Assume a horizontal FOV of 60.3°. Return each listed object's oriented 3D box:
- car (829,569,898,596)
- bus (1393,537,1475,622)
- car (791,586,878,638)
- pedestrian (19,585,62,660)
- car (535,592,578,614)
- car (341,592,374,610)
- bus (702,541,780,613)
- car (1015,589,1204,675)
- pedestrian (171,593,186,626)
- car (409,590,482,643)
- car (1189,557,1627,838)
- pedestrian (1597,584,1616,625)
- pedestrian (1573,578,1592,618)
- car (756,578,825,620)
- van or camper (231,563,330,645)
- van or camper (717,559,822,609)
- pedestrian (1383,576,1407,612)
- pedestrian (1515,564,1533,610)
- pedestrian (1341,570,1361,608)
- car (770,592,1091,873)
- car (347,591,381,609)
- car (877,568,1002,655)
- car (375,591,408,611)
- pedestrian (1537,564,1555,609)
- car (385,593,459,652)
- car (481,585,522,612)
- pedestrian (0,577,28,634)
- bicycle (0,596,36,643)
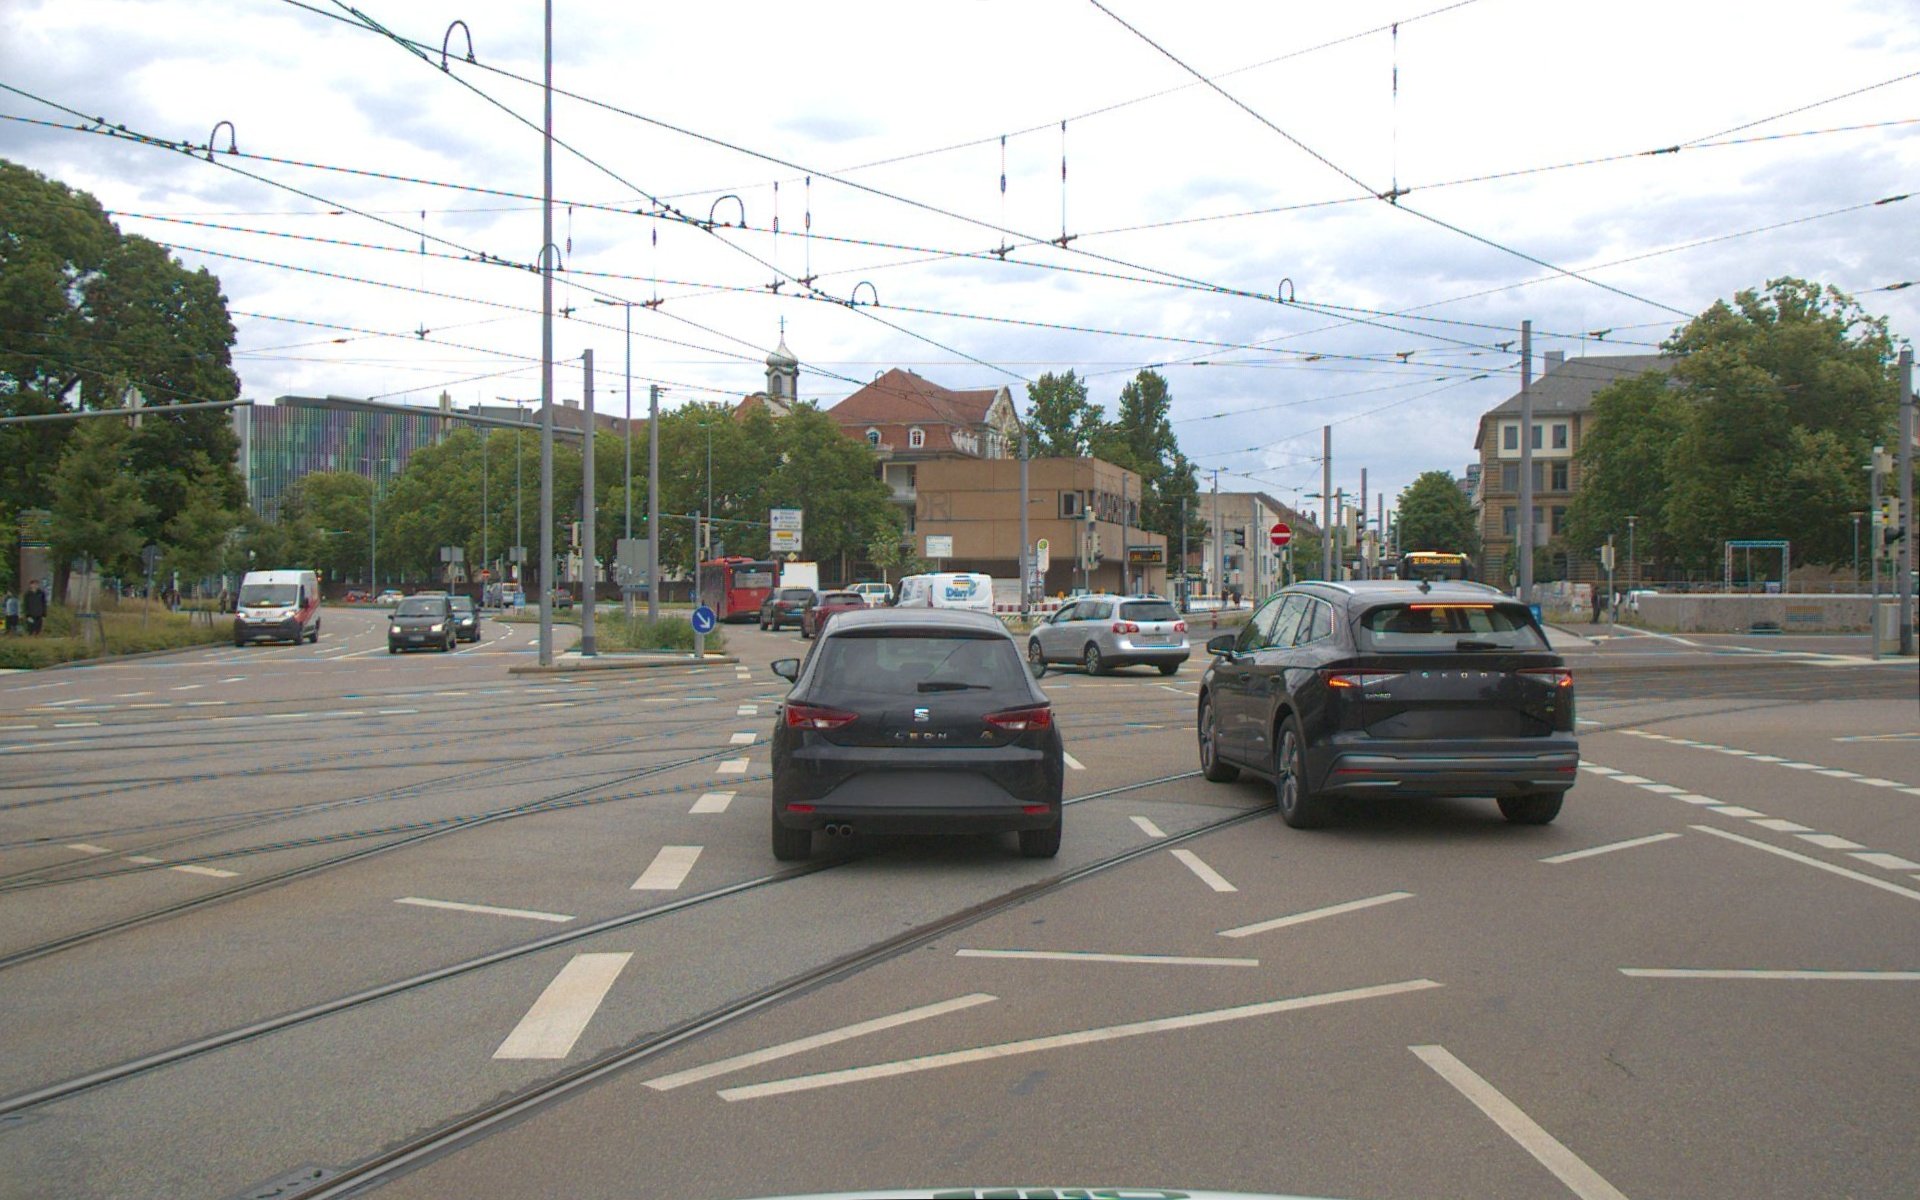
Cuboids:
[{"bbox_3d":[-7.222,-1.318,124.169,4.955,1.897,1.972,-1,-3,-39],"label":"car"},{"bbox_3d":[20.564,-0.825,71.265,2.953,3.325,13.049,0,0,18],"label":"bus"},{"bbox_3d":[-4.160,0.366,54.257,1.830,1.628,4.181,0,0,-20],"label":"car"},{"bbox_3d":[-24.904,0.602,44.805,0.804,2.015,0.657,-1,1,-9],"label":"pedestrian"},{"bbox_3d":[-28.818,0.219,118.114,1.973,1.566,3.959,0,0,-30],"label":"car"},{"bbox_3d":[-56.677,0.077,155.605,1.978,1.711,3.960,0,0,-35],"label":"car"},{"bbox_3d":[-11.151,-1.084,83.313,3.004,3.355,12.342,0,0,-12],"label":"bus"},{"bbox_3d":[2.814,0.560,32.225,1.697,1.508,4.596,-1,1,-23],"label":"car"},{"bbox_3d":[-37.089,0.450,78.480,0.552,1.568,0.751,0,0,-18],"label":"pedestrian"},{"bbox_3d":[-16.590,0.494,53.499,1.838,1.534,4.464,-3,1,-13],"label":"car"},{"bbox_3d":[3.027,0.568,12.248,1.865,1.687,4.513,0,0,-2],"label":"car"},{"bbox_3d":[30.194,0.198,77.272,0.807,1.886,1.021,0,0,21],"label":"pedestrian"},{"bbox_3d":[29.320,-0.101,77.866,0.807,1.840,1.021,-1,-1,21],"label":"pedestrian"},{"bbox_3d":[-6.690,-0.053,64.991,1.962,1.593,4.186,0,0,-17],"label":"car"},{"bbox_3d":[-22.899,0.112,55.959,2.241,2.571,5.553,-1,1,-14],"label":"van or camper"},{"bbox_3d":[-13.667,-1.153,119.065,7.082,3.390,2.836,-1,-1,-39],"label":"van or camper"},{"bbox_3d":[20.687,-0.294,78.676,0.984,1.673,1.021,0,0,21],"label":"pedestrian"},{"bbox_3d":[53.504,-1.247,156.846,1.357,4.328,1.348,0,0,8],"label":"pedestrian"},{"bbox_3d":[19.278,-0.530,81.504,0.807,1.840,1.021,0,0,21],"label":"pedestrian"},{"bbox_3d":[-0.274,0.706,10.894,1.711,1.489,3.997,1,0,-4],"label":"car"},{"bbox_3d":[-58.890,0.014,163.395,1.980,1.780,3.945,0,0,-38],"label":"car"},{"bbox_3d":[-0.605,0.255,42.124,1.961,2.054,5.010,0,0,-16],"label":"car"},{"bbox_3d":[-50.171,0.072,145.990,1.974,1.668,3.957,0,0,-32],"label":"car"},{"bbox_3d":[55.468,-1.277,156.540,1.279,4.328,1.347,0,0,6],"label":"pedestrian"},{"bbox_3d":[-14.978,0.586,46.192,1.590,1.542,3.653,-1,1,-13],"label":"car"},{"bbox_3d":[-35.721,-0.109,128.813,1.976,2.049,3.954,0,0,-33],"label":"car"},{"bbox_3d":[-29.712,0.179,51.772,0.733,1.764,0.684,-1,1,-9],"label":"pedestrian"},{"bbox_3d":[-30.558,0.619,52.586,0.828,1.474,2.256,0,0,11],"label":"bicycle"}]
